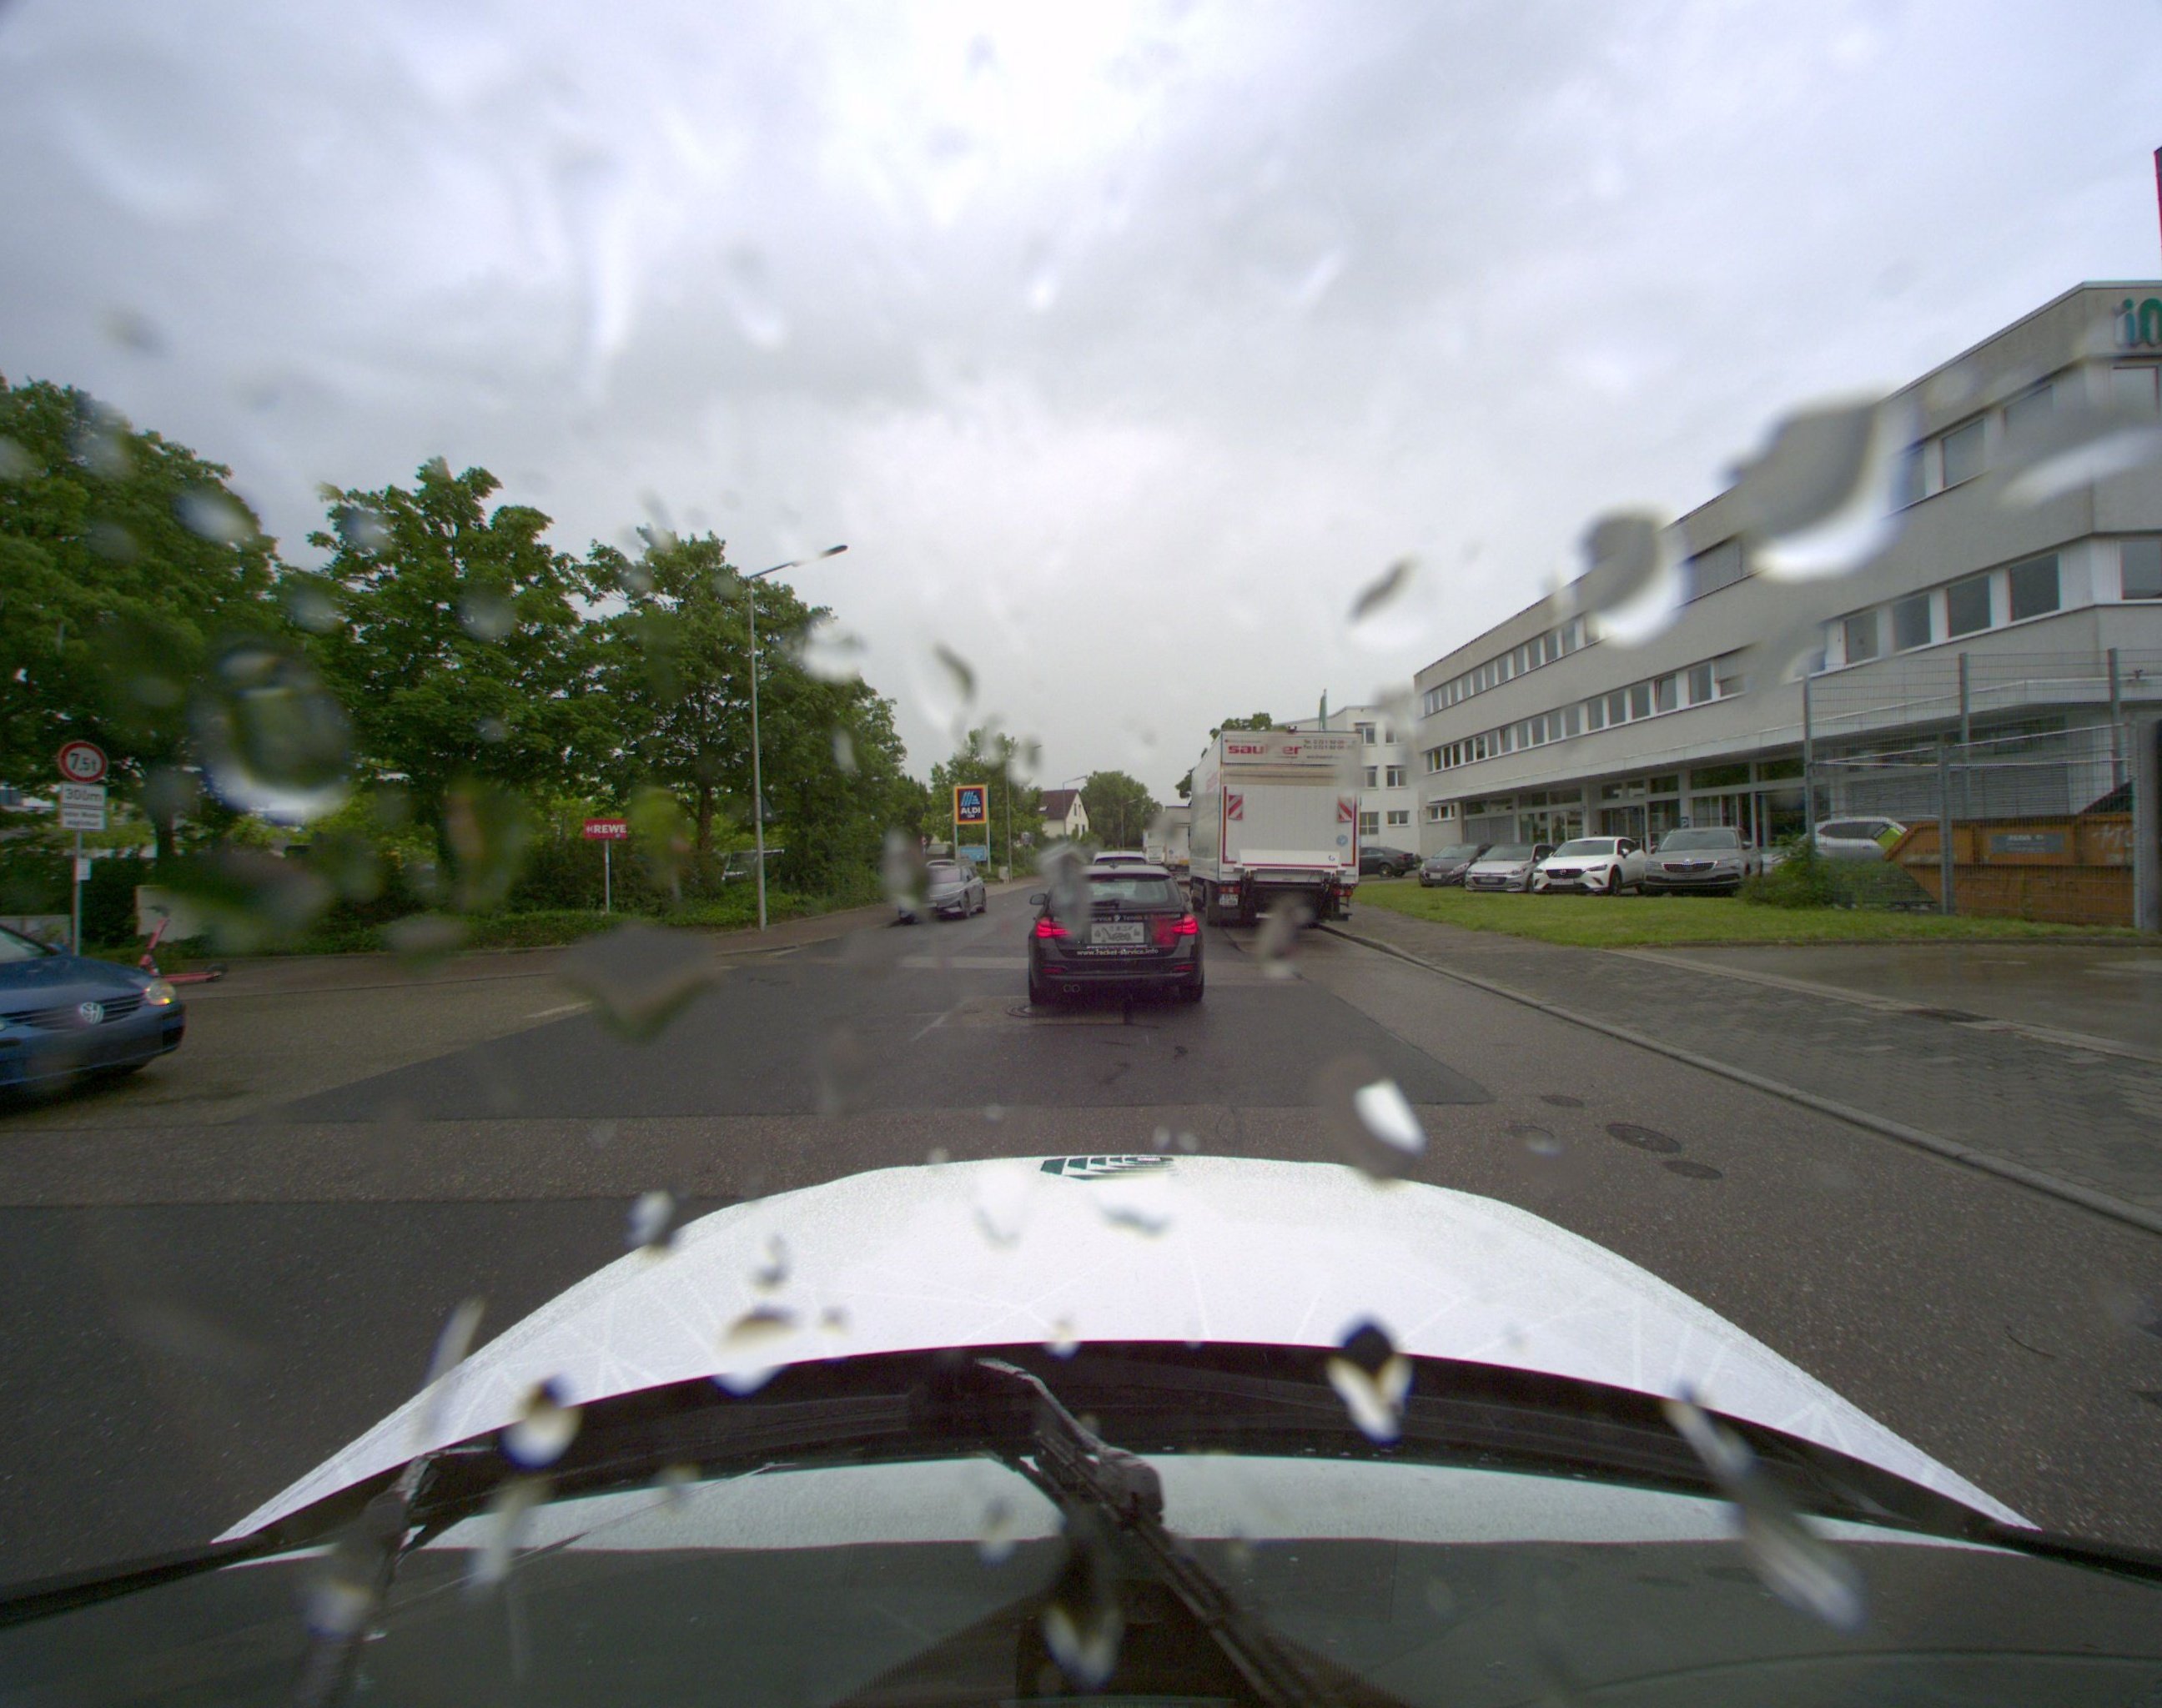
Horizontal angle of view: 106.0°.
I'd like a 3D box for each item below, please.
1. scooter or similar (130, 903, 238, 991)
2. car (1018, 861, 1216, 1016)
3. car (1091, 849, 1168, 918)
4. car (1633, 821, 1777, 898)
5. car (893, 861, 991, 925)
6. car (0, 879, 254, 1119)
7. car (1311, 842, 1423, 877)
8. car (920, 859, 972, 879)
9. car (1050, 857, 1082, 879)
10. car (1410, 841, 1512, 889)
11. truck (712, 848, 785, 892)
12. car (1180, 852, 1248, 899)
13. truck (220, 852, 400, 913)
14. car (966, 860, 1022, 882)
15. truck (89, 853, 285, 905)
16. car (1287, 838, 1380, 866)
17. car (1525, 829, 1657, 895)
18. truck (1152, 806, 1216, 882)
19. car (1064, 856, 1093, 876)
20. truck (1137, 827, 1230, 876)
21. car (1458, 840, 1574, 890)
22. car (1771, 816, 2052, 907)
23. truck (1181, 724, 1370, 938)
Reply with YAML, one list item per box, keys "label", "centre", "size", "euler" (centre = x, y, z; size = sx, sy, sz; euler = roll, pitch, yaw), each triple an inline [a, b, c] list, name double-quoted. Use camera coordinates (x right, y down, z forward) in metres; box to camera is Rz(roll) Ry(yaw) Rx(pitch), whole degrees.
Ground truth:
- label: "scooter or similar"
  centre: [-13.255, 1.355, 12.065]
  size: [0.282, 1.175, 1.063]
  euler: [-2, 0, 10]
- label: "car"
  centre: [0.371, 0.798, 9.512]
  size: [1.798, 1.395, 4.000]
  euler: [-1, -1, 1]
- label: "car"
  centre: [1.185, 0.719, 21.306]
  size: [1.798, 1.586, 4.000]
  euler: [-1, -1, 1]
- label: "car"
  centre: [14.004, 0.084, 18.207]
  size: [4.022, 1.527, 1.850]
  euler: [-2, 0, -43]
- label: "car"
  centre: [-3.962, 1.067, 24.050]
  size: [1.802, 1.528, 4.750]
  euler: [-6, -1, 2]
- label: "car"
  centre: [-8.703, 1.018, 5.732]
  size: [3.972, 1.441, 1.737]
  euler: [-3, 0, 2]
- label: "car"
  centre: [13.462, 0.282, 38.453]
  size: [4.616, 1.468, 1.802]
  euler: [-2, 0, 41]
- label: "car"
  centre: [-11.459, 1.246, 69.152]
  size: [3.969, 1.540, 1.912]
  euler: [-2, 0, 3]
- label: "car"
  centre: [-0.991, 0.951, 57.060]
  size: [1.697, 1.367, 4.607]
  euler: [-4, 0, 5]
- label: "car"
  centre: [12.516, 0.333, 26.740]
  size: [3.789, 1.393, 1.686]
  euler: [-2, 0, -42]
- label: "truck"
  centre: [-22.484, 1.020, 55.405]
  size: [1.986, 2.753, 6.470]
  euler: [-2, 0, 2]
- label: "car"
  centre: [4.556, 0.696, 28.423]
  size: [1.790, 1.441, 4.347]
  euler: [-2, 0, 2]
- label: "truck"
  centre: [-35.972, 1.233, 38.343]
  size: [1.984, 2.601, 6.404]
  euler: [-2, 0, 4]
- label: "car"
  centre: [-5.858, 1.135, 55.059]
  size: [3.553, 1.460, 1.714]
  euler: [0, 0, 4]
- label: "truck"
  centre: [-40.090, 1.053, 36.870]
  size: [1.987, 2.094, 6.135]
  euler: [-2, 0, 1]
- label: "car"
  centre: [19.057, -0.150, 61.717]
  size: [6.436, 2.014, 1.998]
  euler: [-1, -1, -2]
- label: "car"
  centre: [12.912, 0.164, 20.510]
  size: [4.022, 1.470, 1.754]
  euler: [-2, 0, -42]
- label: "truck"
  centre: [5.259, -0.474, 42.691]
  size: [2.730, 3.611, 7.755]
  euler: [0, 0, 3]
- label: "car"
  centre: [-0.169, 0.921, 63.153]
  size: [1.697, 1.367, 3.845]
  euler: [-4, 0, 6]
- label: "truck"
  centre: [7.409, -0.264, 57.813]
  size: [2.320, 3.256, 7.796]
  euler: [3, 3, 44]
- label: "car"
  centre: [12.753, 0.292, 23.786]
  size: [4.022, 1.286, 1.686]
  euler: [-2, 0, -42]
- label: "car"
  centre: [17.881, 0.148, 17.882]
  size: [1.986, 1.706, 4.145]
  euler: [-2, 0, 2]
- label: "truck"
  centre: [4.041, -0.415, 19.229]
  size: [2.729, 3.789, 9.307]
  euler: [1, 0, 3]
